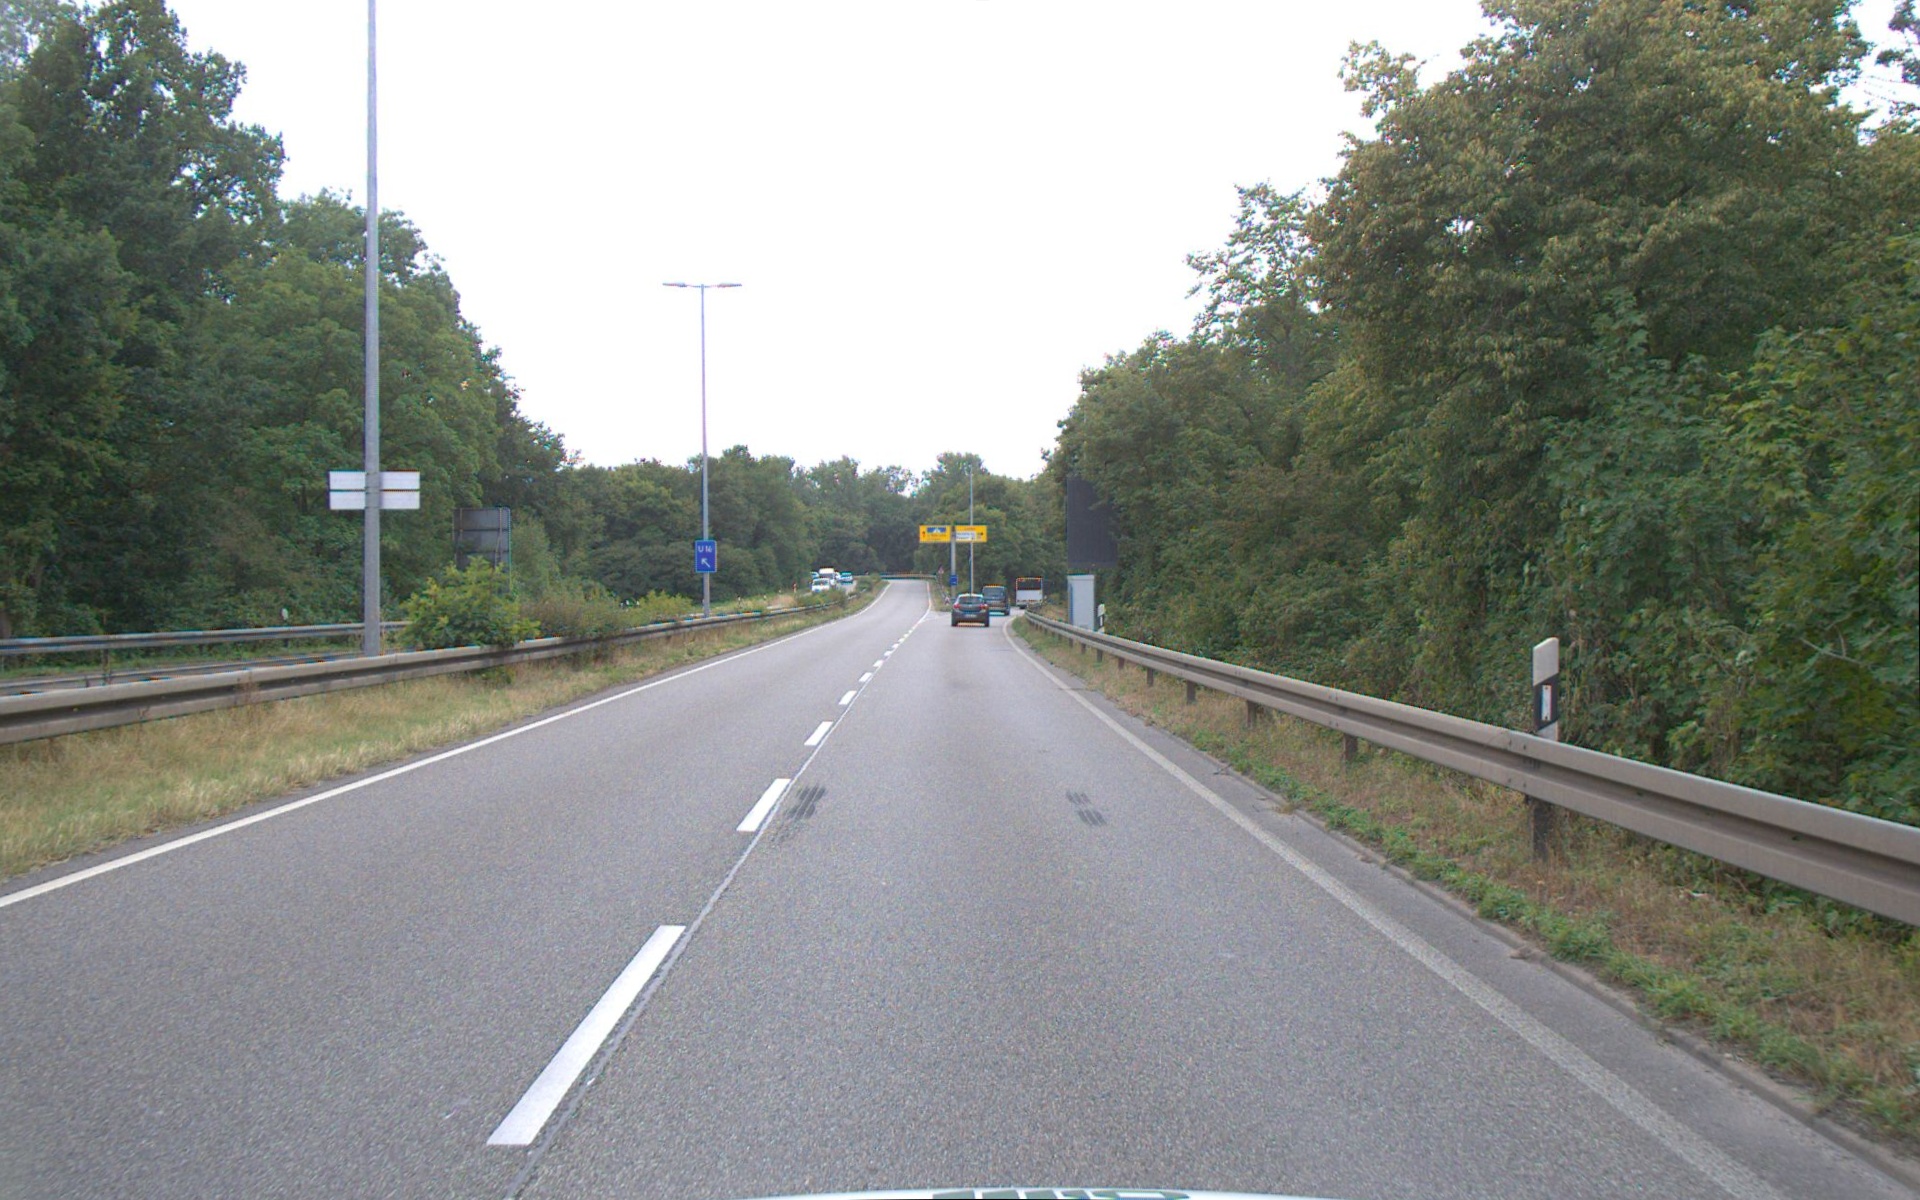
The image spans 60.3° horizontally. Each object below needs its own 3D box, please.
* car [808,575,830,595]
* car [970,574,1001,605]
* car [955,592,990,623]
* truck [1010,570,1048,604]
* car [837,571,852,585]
[{"bbox_3d":[-14.297,-1.545,167.701,1.953,1.879,4.001,0,2,0],"label":"car"},{"bbox_3d":[1.719,-0.735,113.954,2.104,2.049,3.999,0,-1,0],"label":"car"},{"bbox_3d":[0.571,0.377,77.381,1.592,1.402,3.999,0,-1,0],"label":"car"},{"bbox_3d":[6.385,-1.135,152.119,2.917,2.935,7.996,0,-1,6],"label":"truck"},{"bbox_3d":[-16.380,-3.138,234.658,1.953,2.049,4.000,0,1,0],"label":"car"}]
